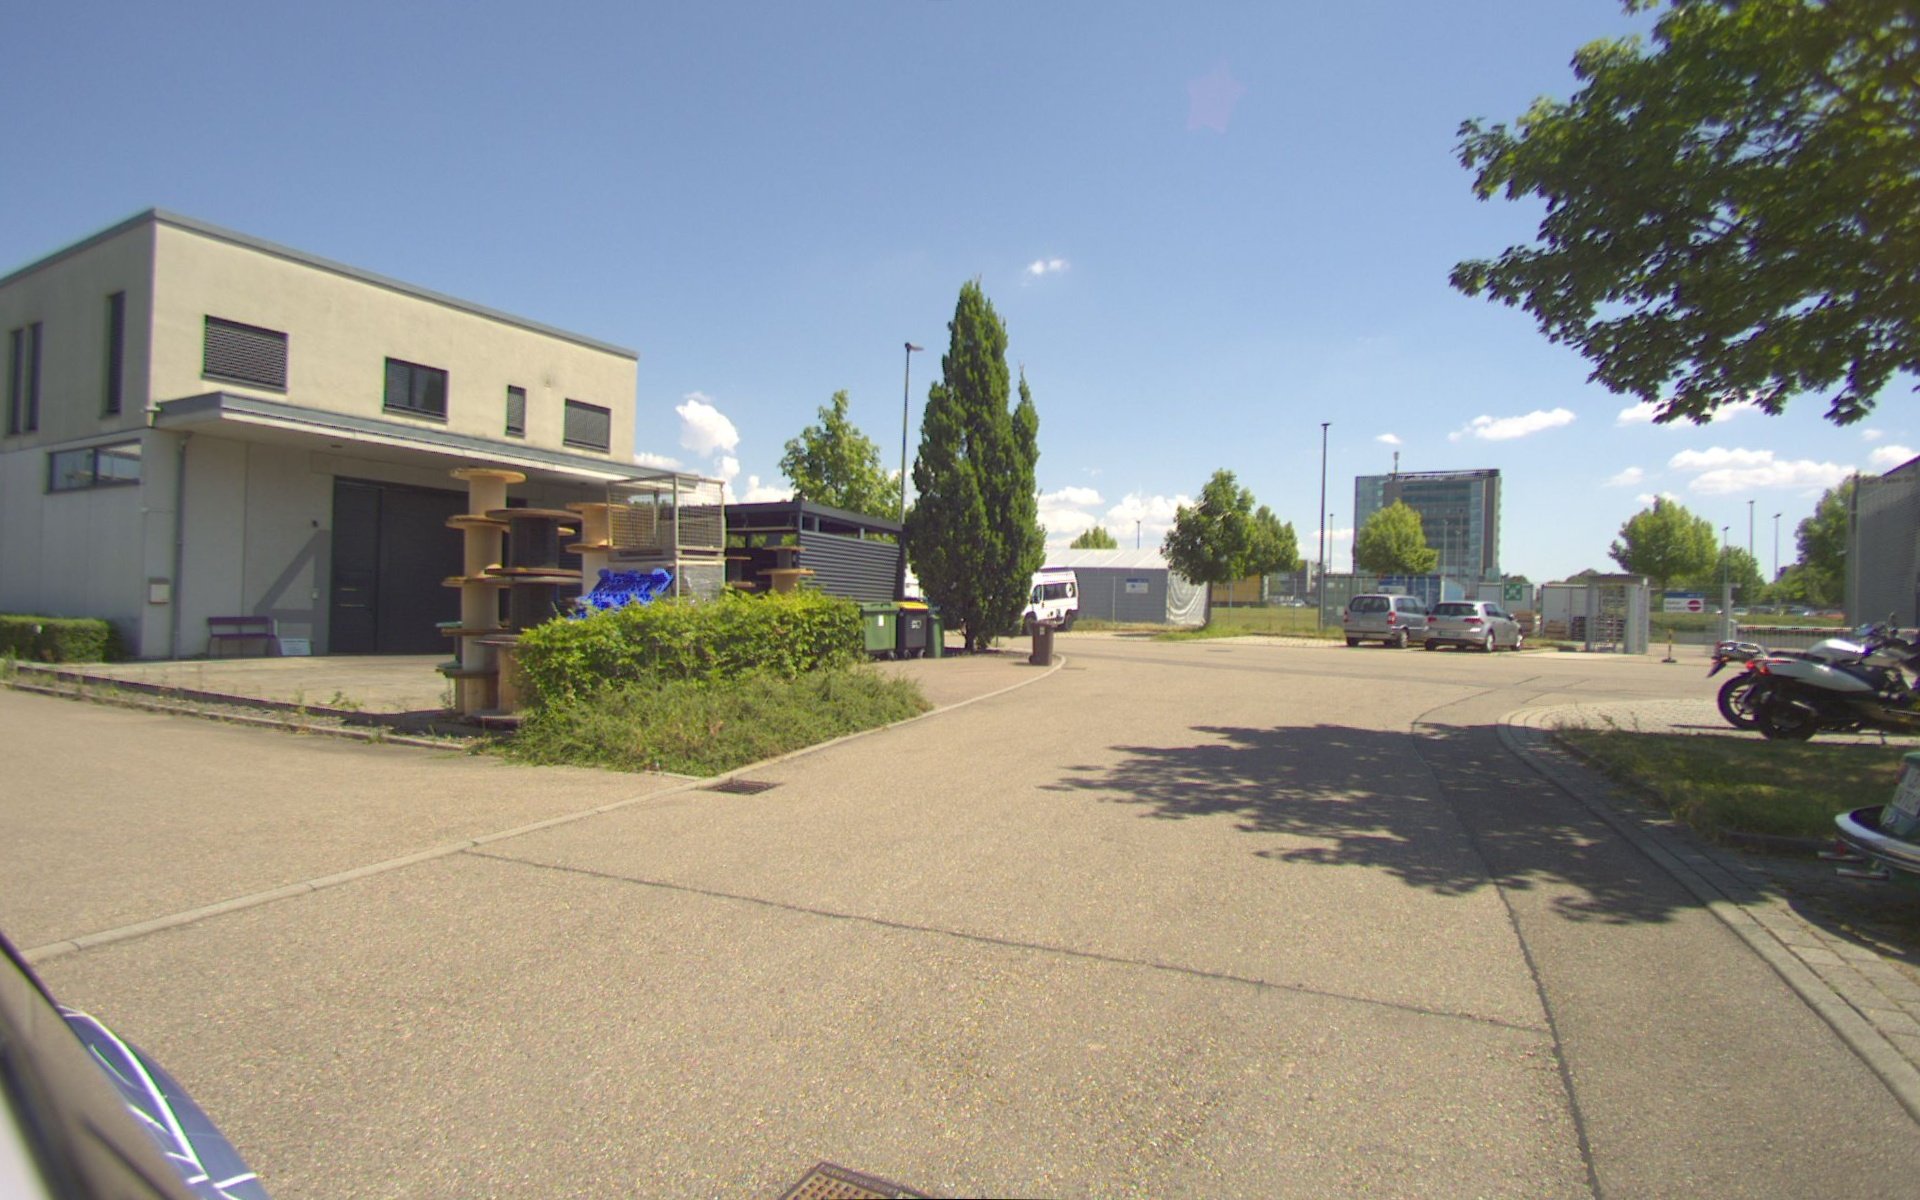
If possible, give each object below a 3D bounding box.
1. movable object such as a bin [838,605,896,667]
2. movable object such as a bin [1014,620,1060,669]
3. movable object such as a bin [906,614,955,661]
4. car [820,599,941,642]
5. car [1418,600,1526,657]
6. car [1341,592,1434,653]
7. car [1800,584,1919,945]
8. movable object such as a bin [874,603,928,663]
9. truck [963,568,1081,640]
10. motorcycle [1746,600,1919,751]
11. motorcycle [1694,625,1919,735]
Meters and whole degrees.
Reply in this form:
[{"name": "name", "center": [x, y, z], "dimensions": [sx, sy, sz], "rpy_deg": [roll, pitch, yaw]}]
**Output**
[{"name": "movable object such as a bin", "center": [-2.066, 0.782, 22.529], "dimensions": [0.758, 1.346, 1.060], "rpy_deg": [0, 0, 36]}, {"name": "movable object such as a bin", "center": [1.626, 0.927, 21.362], "dimensions": [0.758, 0.977, 0.583], "rpy_deg": [0, 0, 36]}, {"name": "movable object such as a bin", "center": [-0.711, 0.885, 24.545], "dimensions": [0.758, 1.092, 0.976], "rpy_deg": [0, 0, 36]}, {"name": "car", "center": [-3.001, 0.727, 37.727], "dimensions": [4.249, 1.525, 1.936], "rpy_deg": [0, -1, 35]}, {"name": "car", "center": [14.936, 0.775, 29.426], "dimensions": [3.941, 1.533, 1.654], "rpy_deg": [0, 0, -45]}, {"name": "car", "center": [13.266, 0.649, 31.296], "dimensions": [1.769, 1.751, 3.950], "rpy_deg": [0, 0, 37]}, {"name": "car", "center": [5.844, 0.682, 3.749], "dimensions": [3.868, 1.459, 1.639], "rpy_deg": [0, 0, 24]}, {"name": "movable object such as a bin", "center": [-1.375, 0.753, 23.677], "dimensions": [0.758, 1.346, 1.060], "rpy_deg": [0, 0, 36]}, {"name": "truck", "center": [2.597, 0.157, 40.732], "dimensions": [2.410, 2.692, 5.637], "rpy_deg": [0, 0, 31]}, {"name": "motorcycle", "center": [8.826, 0.698, 9.689], "dimensions": [1.977, 1.400, 0.480], "rpy_deg": [0, 0, 24]}, {"name": "motorcycle", "center": [9.271, 0.843, 11.033], "dimensions": [1.977, 1.117, 0.480], "rpy_deg": [0, 0, 24]}]
